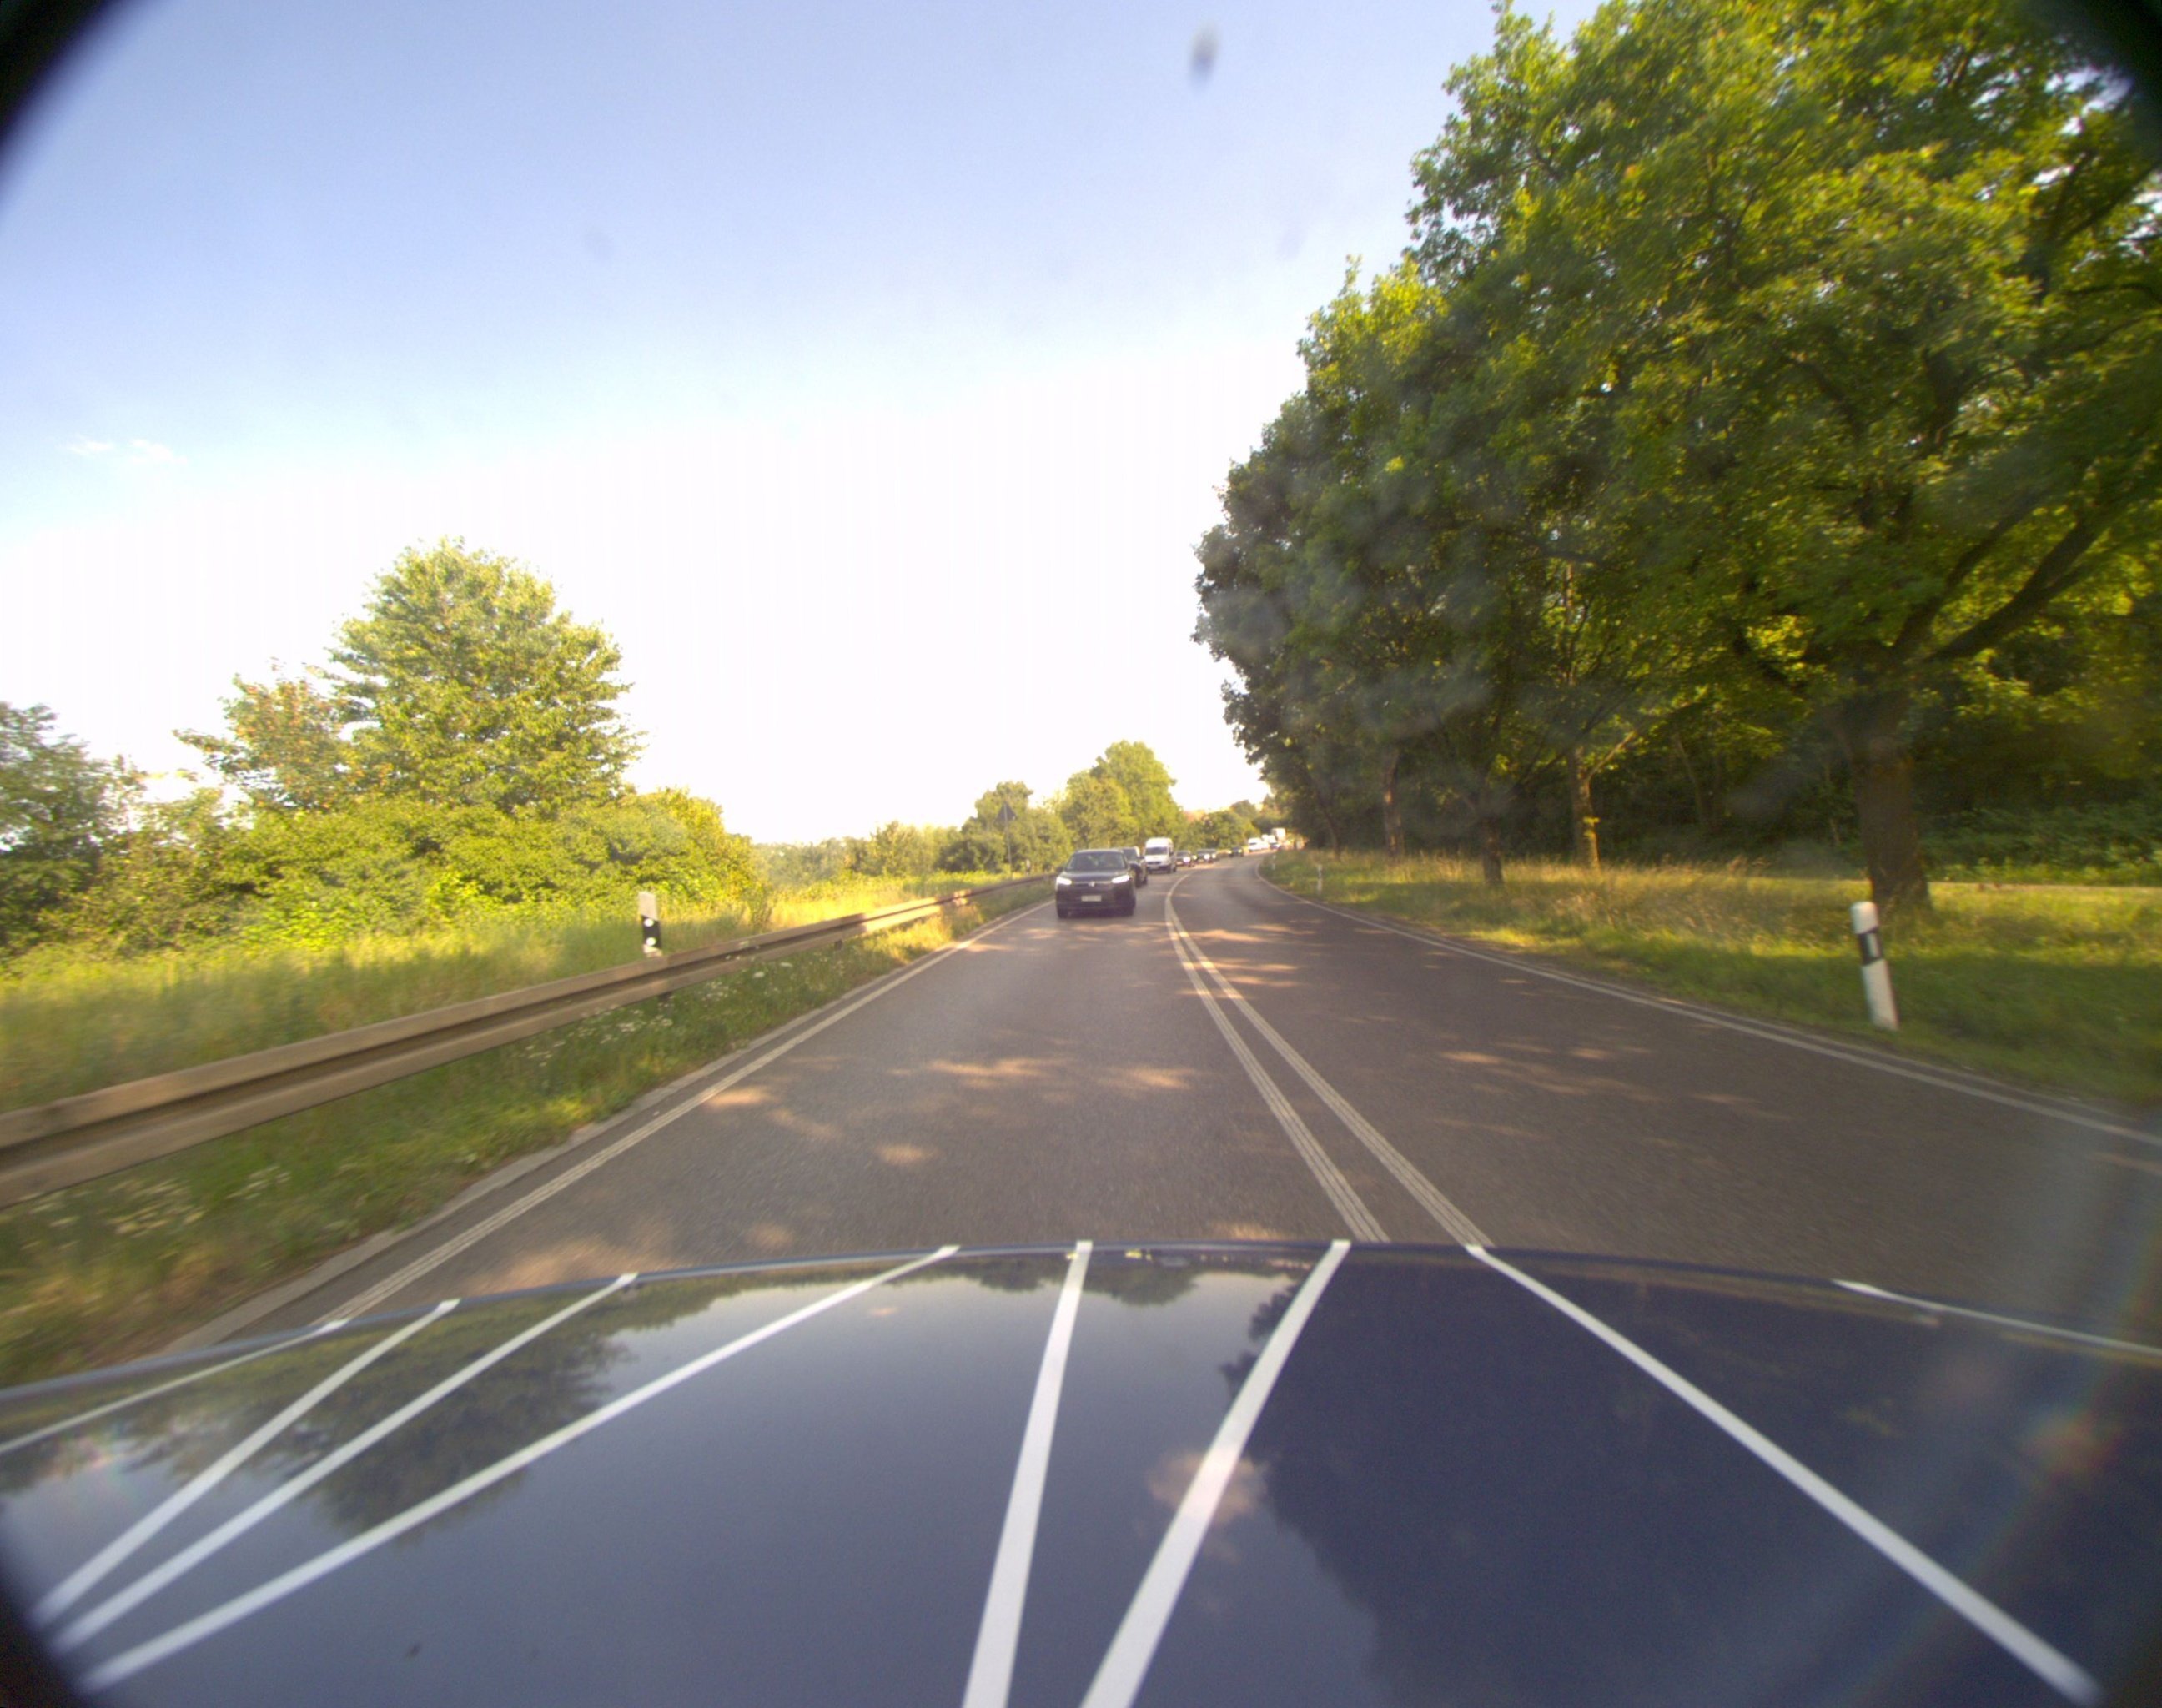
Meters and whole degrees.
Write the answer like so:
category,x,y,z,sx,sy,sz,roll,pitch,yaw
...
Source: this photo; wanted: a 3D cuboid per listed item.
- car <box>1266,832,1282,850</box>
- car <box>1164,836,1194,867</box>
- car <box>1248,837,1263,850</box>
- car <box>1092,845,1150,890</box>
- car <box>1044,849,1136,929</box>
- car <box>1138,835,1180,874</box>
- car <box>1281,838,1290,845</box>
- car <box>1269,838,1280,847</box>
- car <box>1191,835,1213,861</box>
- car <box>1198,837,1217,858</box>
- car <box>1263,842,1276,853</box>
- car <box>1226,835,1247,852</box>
category,x,y,z,sx,sy,sz,roll,pitch,yaw
car,27.603,-1.830,108.625,2.086,2.403,5.147,-2,1,15
car,8.175,-0.228,63.018,2.087,2.403,5.145,-2,1,10
car,33.372,-1.975,145.317,2.085,2.403,5.149,-2,1,21
car,1.816,0.538,32.912,1.921,1.718,4.704,-2,0,9
car,0.359,0.752,18.812,1.922,1.612,4.702,-2,1,4
car,5.234,-0.033,50.202,2.086,2.403,5.146,-2,1,13
car,51.543,-3.225,191.390,1.892,1.622,4.256,-2,1,18
car,37.459,-2.282,147.181,1.899,1.622,4.255,-2,1,15
car,12.223,-0.623,76.610,2.087,2.403,5.145,-2,1,10
car,14.999,-0.815,89.999,2.087,2.403,5.145,-2,1,10
car,41.626,-1.463,168.035,2.085,2.403,5.149,-2,1,21
car,22.819,-1.542,111.197,2.085,2.403,5.149,-2,1,21
